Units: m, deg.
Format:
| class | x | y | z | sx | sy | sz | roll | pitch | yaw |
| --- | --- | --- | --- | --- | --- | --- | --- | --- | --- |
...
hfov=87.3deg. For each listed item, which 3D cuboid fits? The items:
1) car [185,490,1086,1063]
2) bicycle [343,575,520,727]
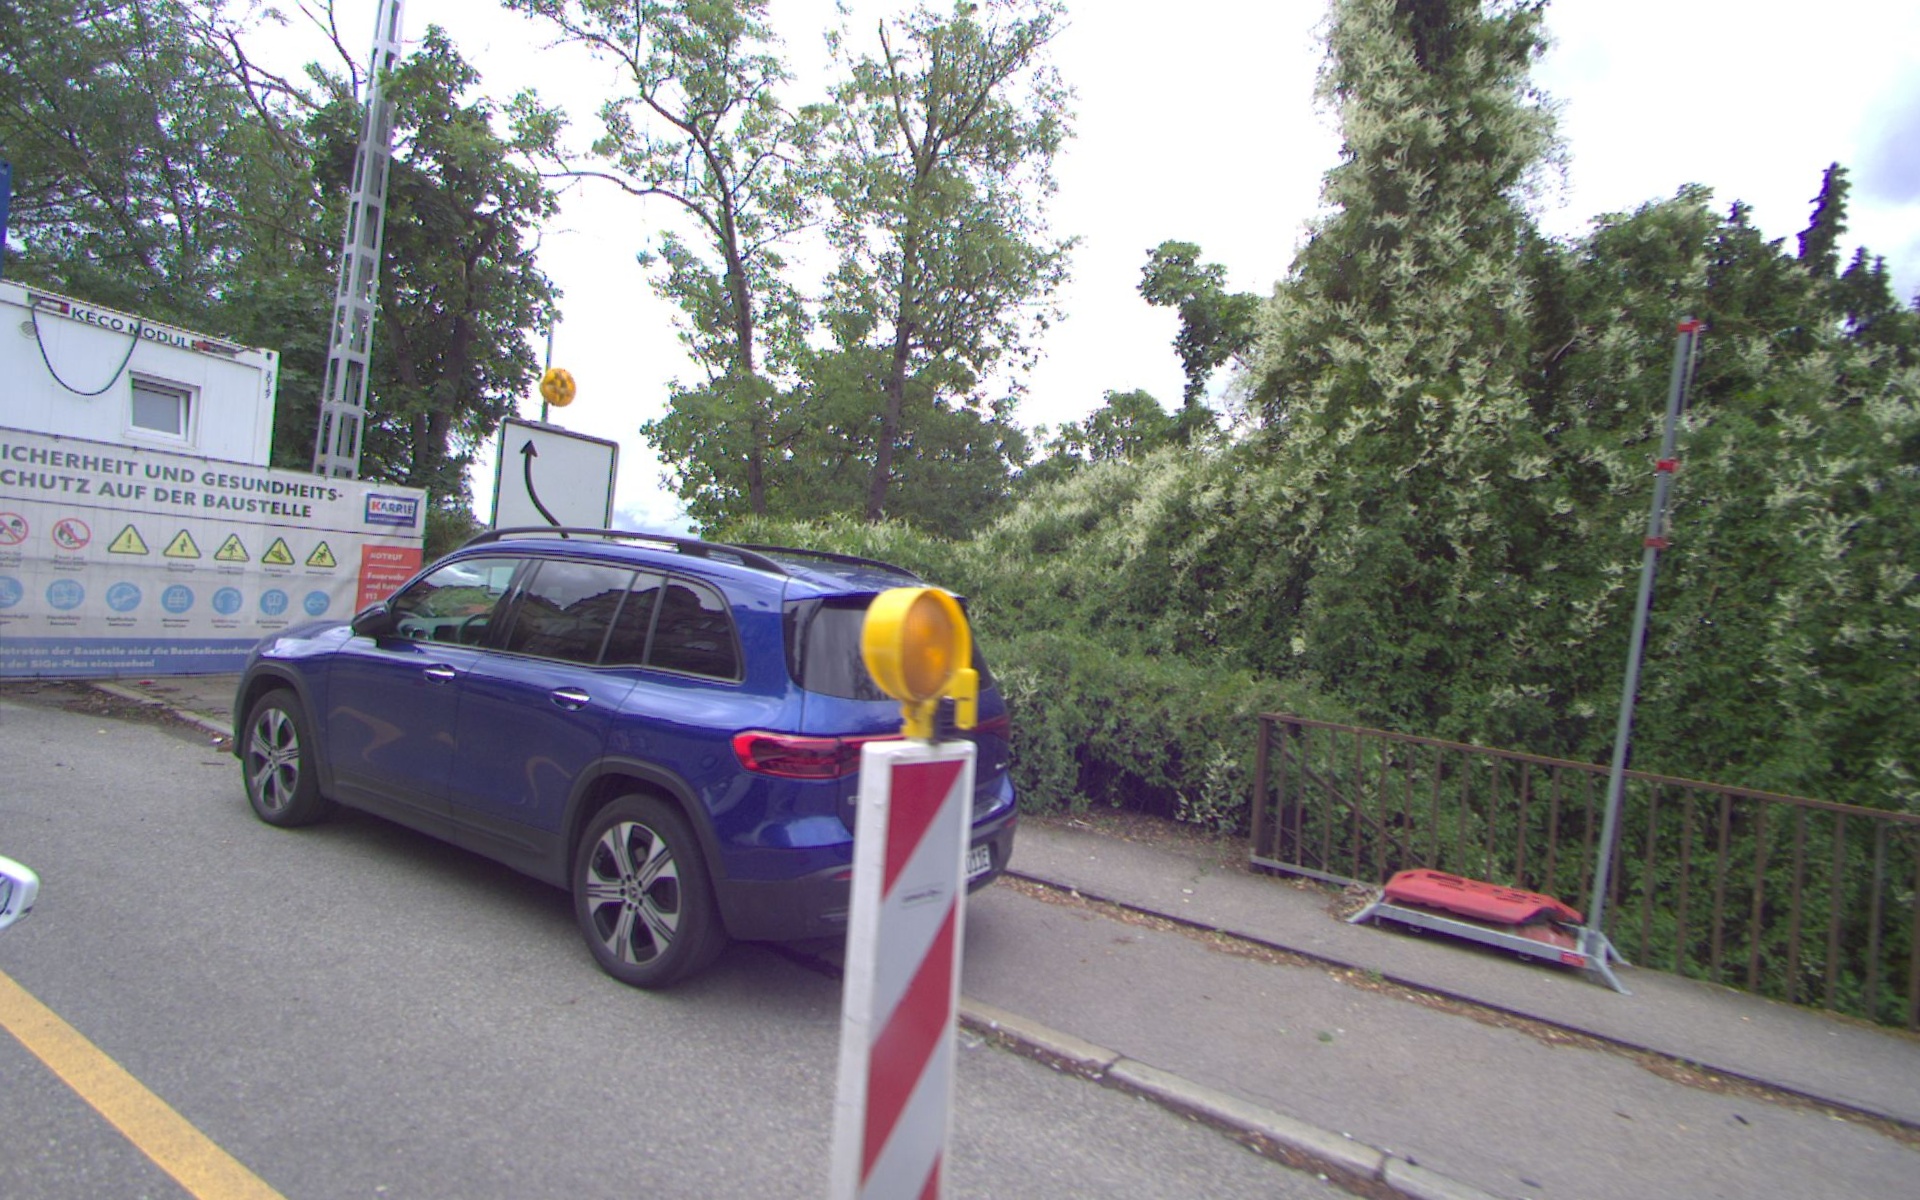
| class | x | y | z | sx | sy | sz | roll | pitch | yaw |
| --- | --- | --- | --- | --- | --- | --- | --- | --- | --- |
| car | -1.830 | 0.473 | 5.118 | 4.428 | 1.664 | 1.840 | 6 | 2 | 31 |
| bicycle | -4.765 | 0.423 | 9.025 | 1.770 | 1.122 | 0.499 | 7 | 2 | 31 |
